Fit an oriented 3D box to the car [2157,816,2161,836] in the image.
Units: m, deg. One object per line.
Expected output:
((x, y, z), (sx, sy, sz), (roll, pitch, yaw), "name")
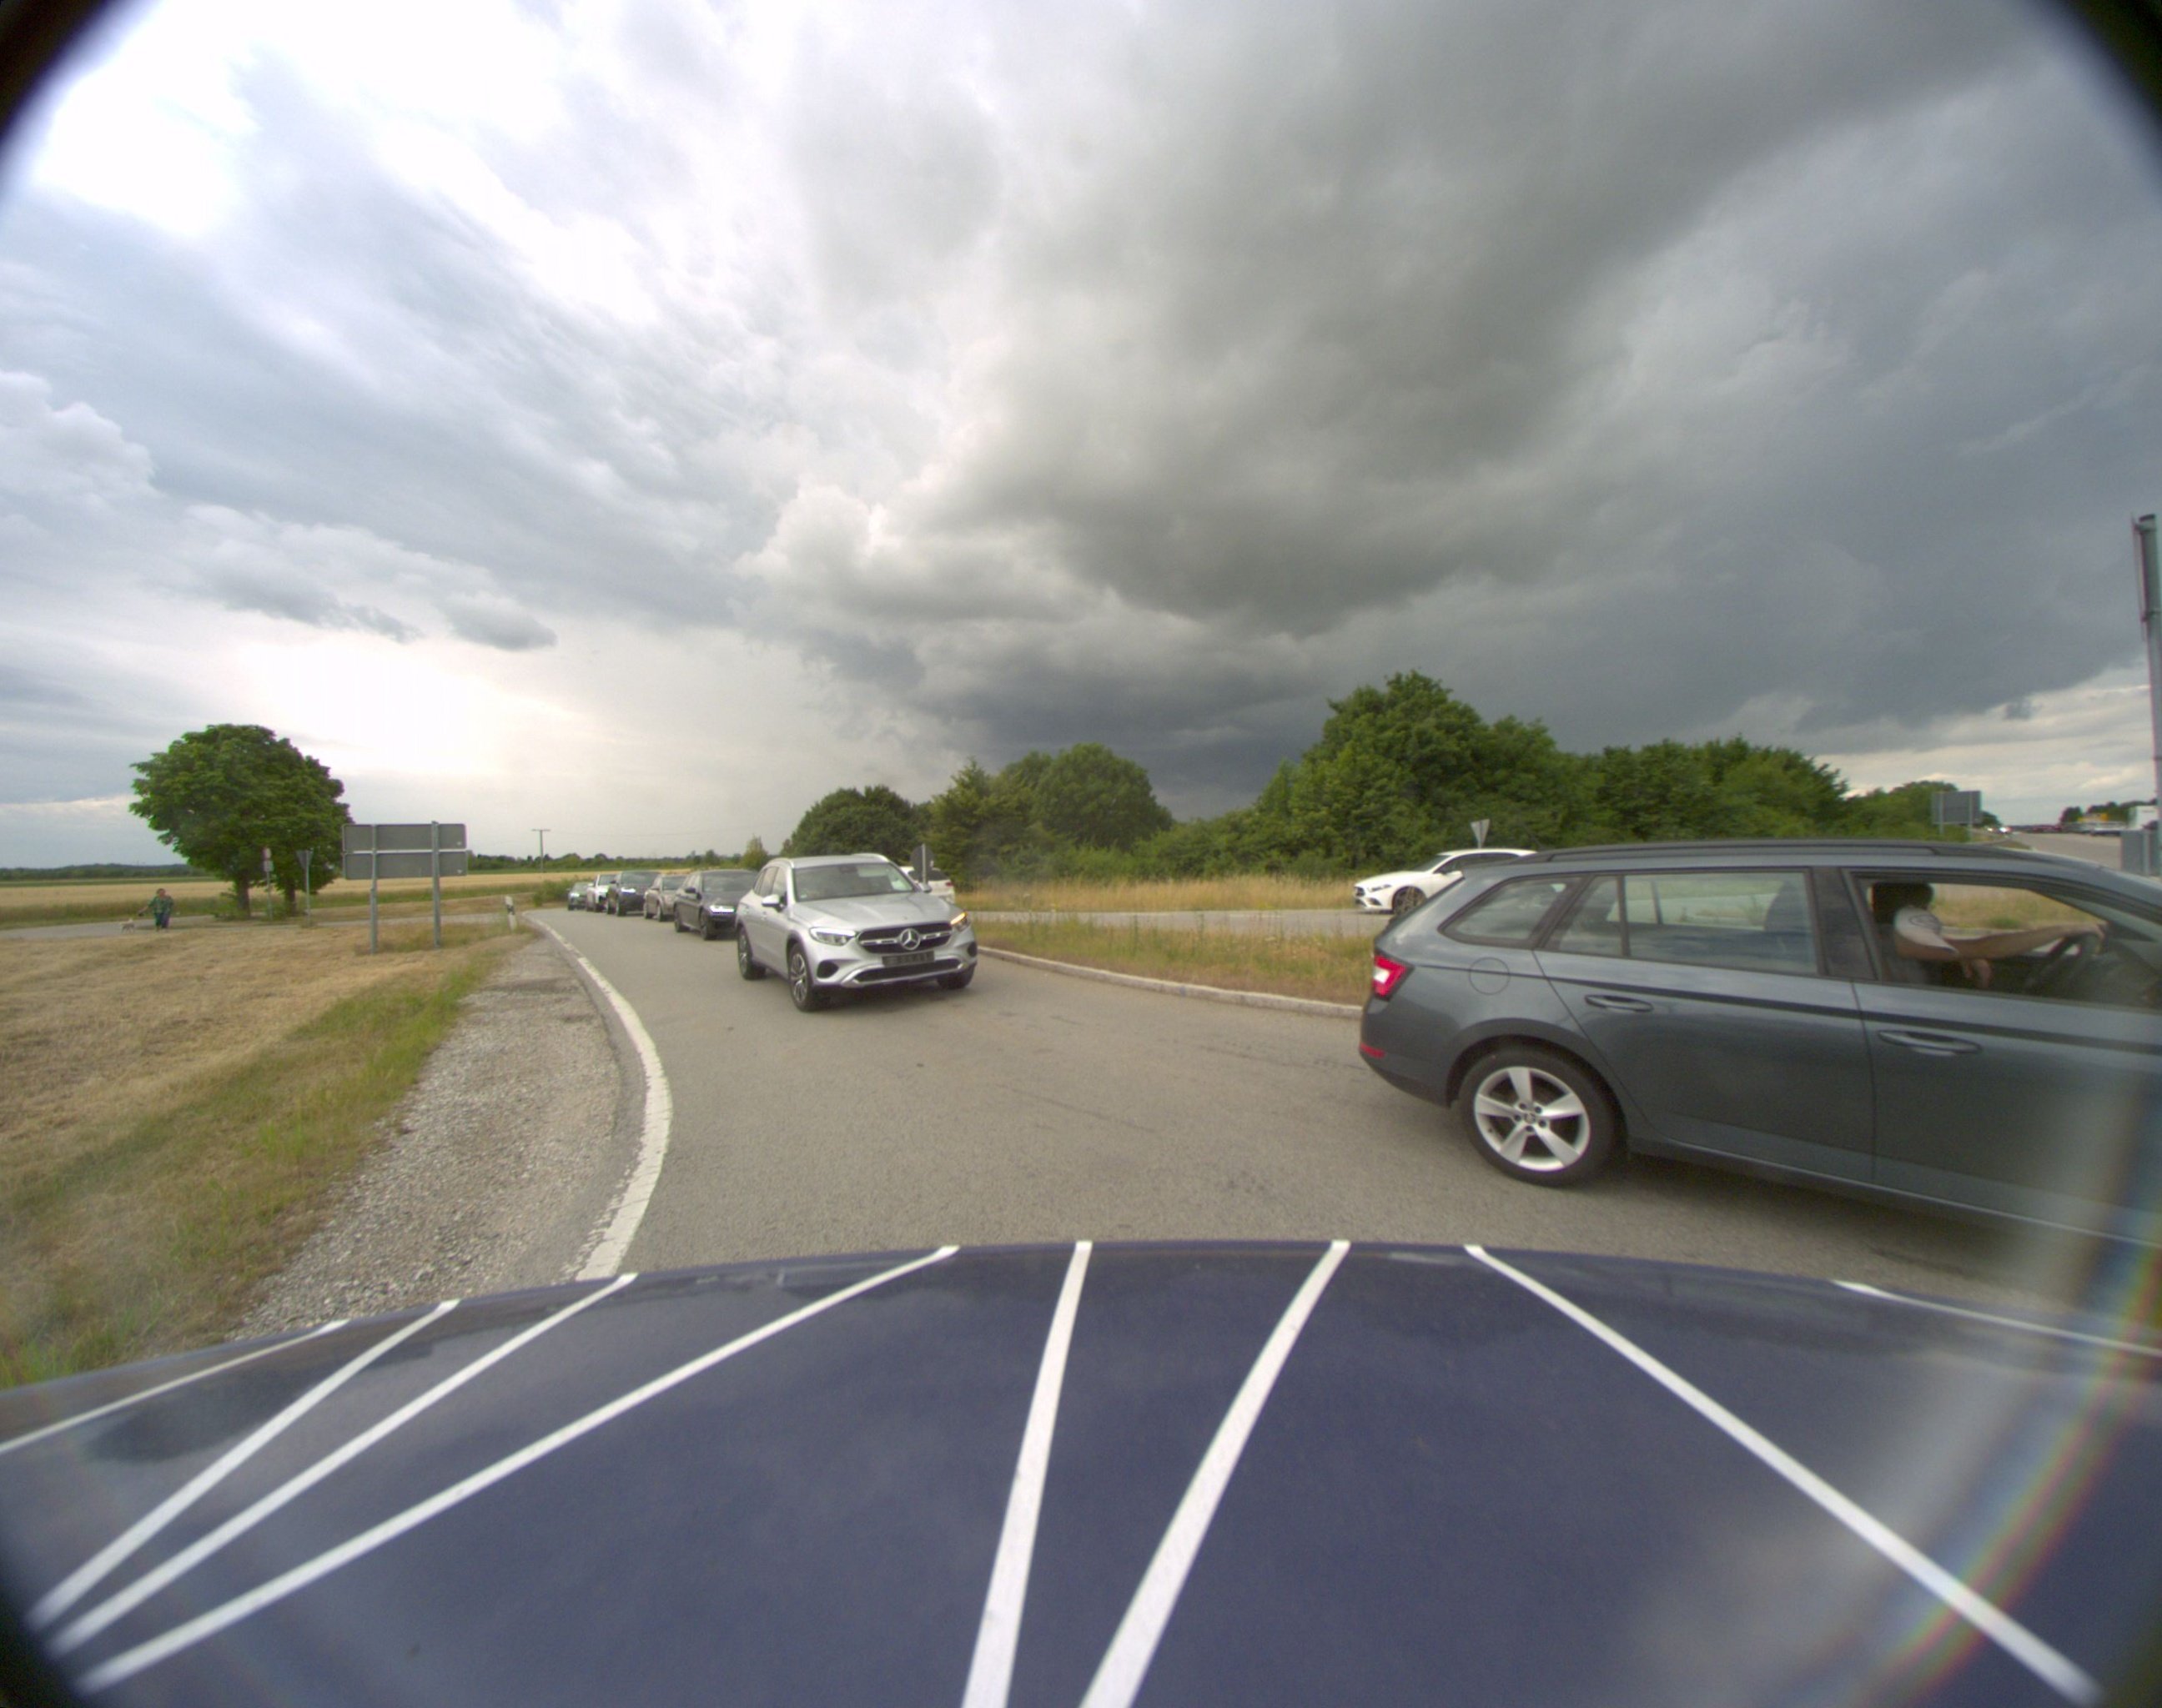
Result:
((81.959, -2.153, 56.481), (4.008, 1.516, 1.843), (-1, 0, -42), "car")

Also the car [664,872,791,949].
((-8.184, 1.177, 17.348), (1.725, 1.346, 4.683), (-4, 2, -35), "car")

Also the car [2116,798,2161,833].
((96.711, -3.433, 69.123), (6.571, 3.011, 2.334), (-1, 0, -42), "car")

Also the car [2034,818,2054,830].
((158.645, -4.924, 125.149), (4.008, 1.740, 1.853), (-2, 1, -41), "car")

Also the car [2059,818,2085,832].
((133.913, -3.941, 102.728), (4.008, 1.740, 1.853), (-2, 1, -41), "car")

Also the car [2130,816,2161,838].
((88.636, -2.237, 62.794), (4.008, 1.740, 1.853), (-2, 1, -42), "car")

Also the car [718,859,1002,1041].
((-2.969, 0.918, 9.425), (2.000, 1.577, 4.383), (-4, 2, -35), "car")

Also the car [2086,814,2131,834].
((105.317, -3.044, 77.934), (4.885, 1.911, 2.334), (-1, 0, -42), "car")

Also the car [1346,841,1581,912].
((8.482, 0.486, 17.184), (4.387, 1.443, 1.772), (-1, 1, 6), "car")

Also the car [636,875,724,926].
((-12.624, 1.377, 23.778), (1.725, 1.345, 4.202), (-2, 1, -37), "car")

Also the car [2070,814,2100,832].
((118.058, -3.656, 89.357), (4.008, 2.002, 1.792), (-2, 0, -43), "car")

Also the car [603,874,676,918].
((-16.460, 1.510, 28.238), (1.725, 1.346, 4.203), (-5, 2, -37), "car")

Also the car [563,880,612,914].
((-25.976, 2.227, 39.926), (1.725, 1.486, 4.203), (-5, 2, -37), "car")

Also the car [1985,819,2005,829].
((151.416, -4.962, 125.863), (4.007, 1.474, 1.994), (-2, 1, -42), "car")

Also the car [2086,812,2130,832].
((110.337, -3.398, 81.693), (4.885, 1.911, 2.334), (-1, 0, -42), "car")

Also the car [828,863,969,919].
((-5.430, 1.009, 22.374), (4.300, 1.400, 1.824), (1, 1, 40), "car")

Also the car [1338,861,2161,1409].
((3.351, 0.792, 2.901), (4.105, 1.439, 1.722), (-1, 2, 42), "car")

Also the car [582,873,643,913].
((-20.667, 1.656, 33.435), (1.725, 1.486, 4.626), (-5, 2, -37), "car")

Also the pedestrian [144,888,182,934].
((-33.385, 2.066, 27.635), (0.942, 1.602, 0.775), (-1, 1, 35), "pedestrian")

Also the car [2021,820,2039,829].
((176.335, -5.498, 141.231), (4.008, 1.543, 1.792), (-2, 0, -42), "car")
